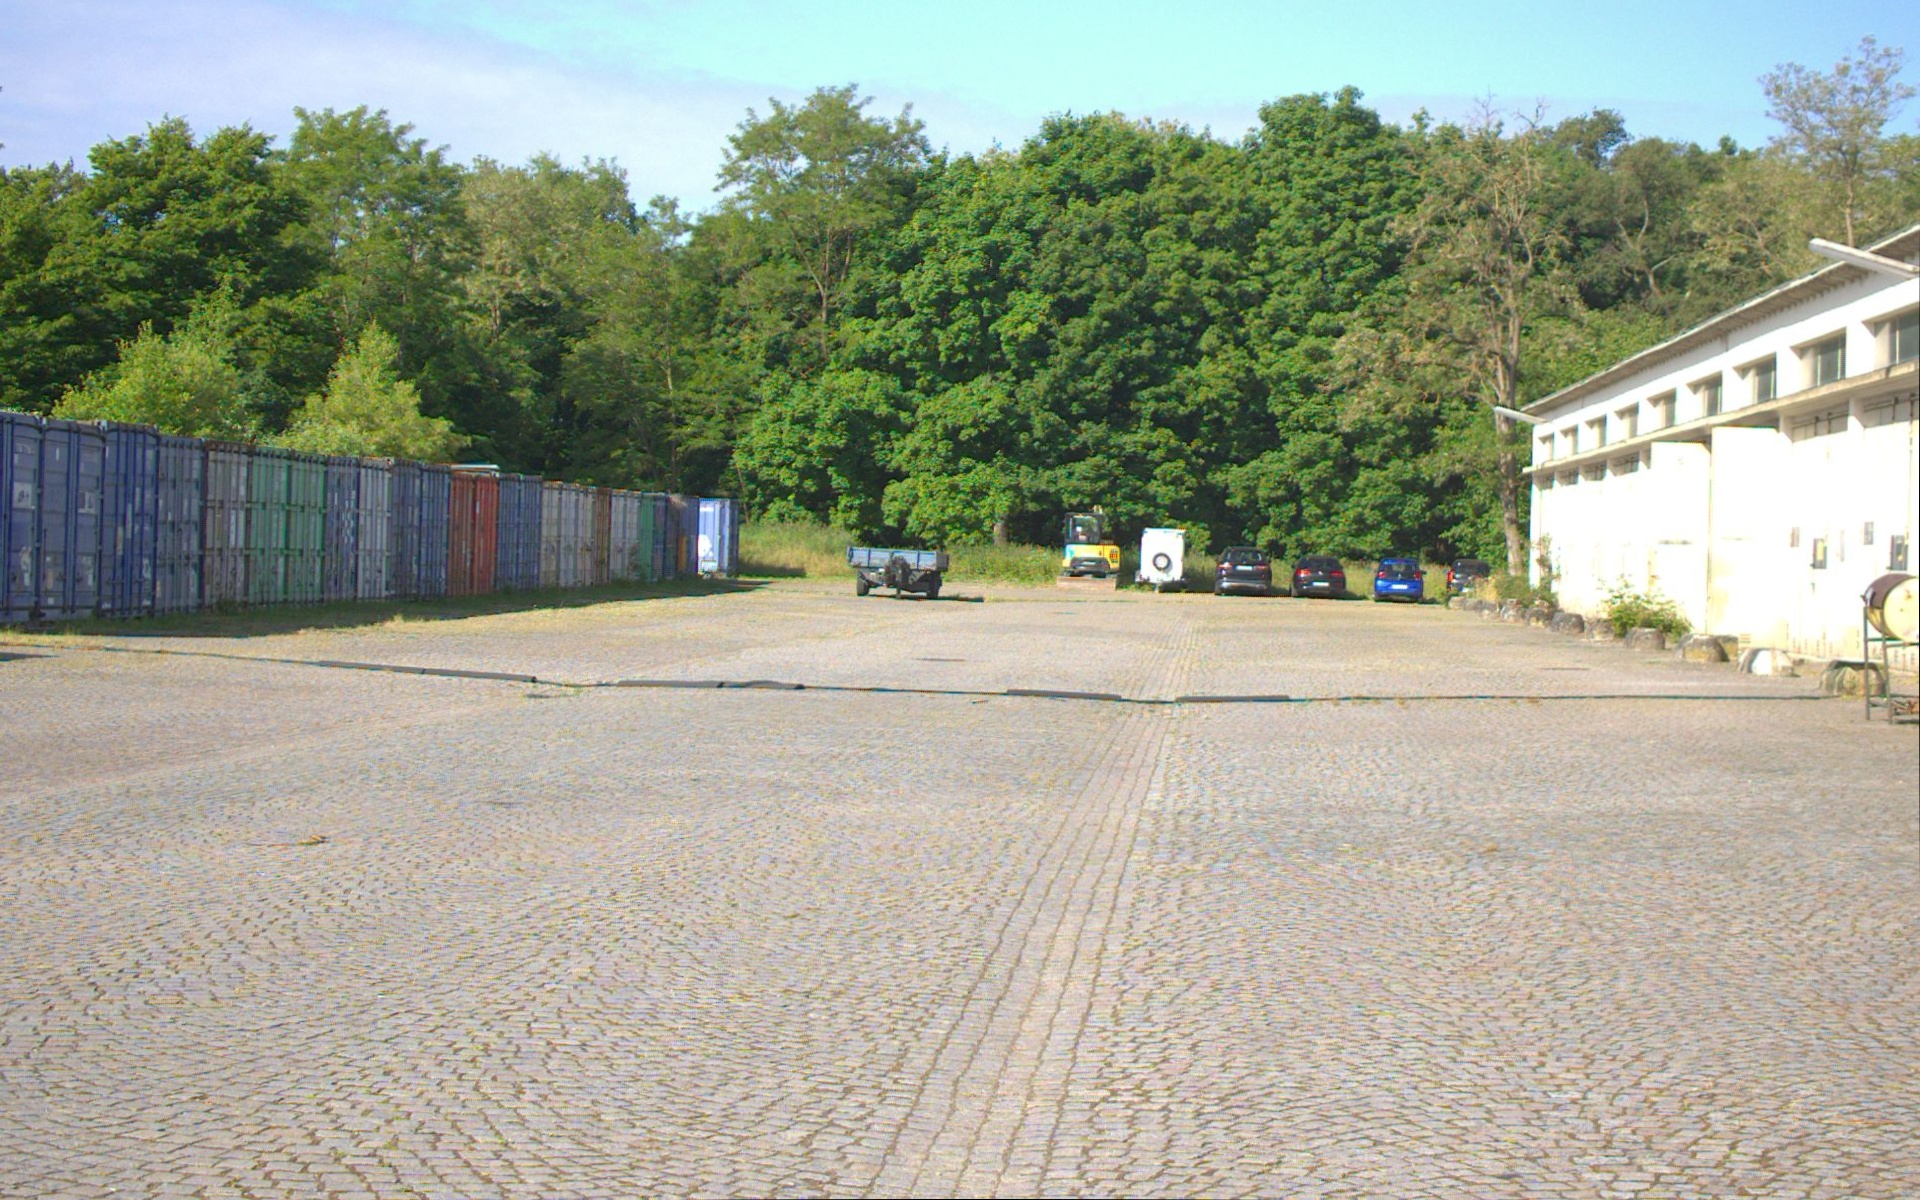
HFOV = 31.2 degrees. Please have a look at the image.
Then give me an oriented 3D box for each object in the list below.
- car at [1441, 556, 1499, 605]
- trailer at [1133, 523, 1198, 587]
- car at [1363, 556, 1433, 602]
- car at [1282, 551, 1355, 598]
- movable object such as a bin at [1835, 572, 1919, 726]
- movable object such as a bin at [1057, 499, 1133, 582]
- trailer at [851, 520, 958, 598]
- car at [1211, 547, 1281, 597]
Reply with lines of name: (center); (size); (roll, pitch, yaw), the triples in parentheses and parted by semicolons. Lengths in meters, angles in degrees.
car: (17.128, -0.662, 115.342); (1.686, 1.558, 3.998); (2, 1, 11)
trailer: (6.957, -1.521, 116.294); (1.794, 2.083, 3.970); (2, 1, 8)
car: (14.571, -0.712, 114.186); (1.994, 1.415, 3.998); (2, 1, 11)
car: (11.948, -0.846, 114.394); (1.994, 1.457, 3.998); (2, 1, 11)
movable object such as a bin: (8.451, 0.434, 30.823); (0.823, 1.327, 1.280); (2, 1, -1)
movable object such as a bin: (4.602, -2.011, 116.754); (1.994, 2.609, 3.999); (4, 1, 8)
trailer: (-1.560, -1.179, 97.784); (2.408, 2.006, 4.172); (4, 1, 6)
car: (9.534, -0.941, 114.392); (1.862, 1.580, 3.998); (2, 1, 11)
